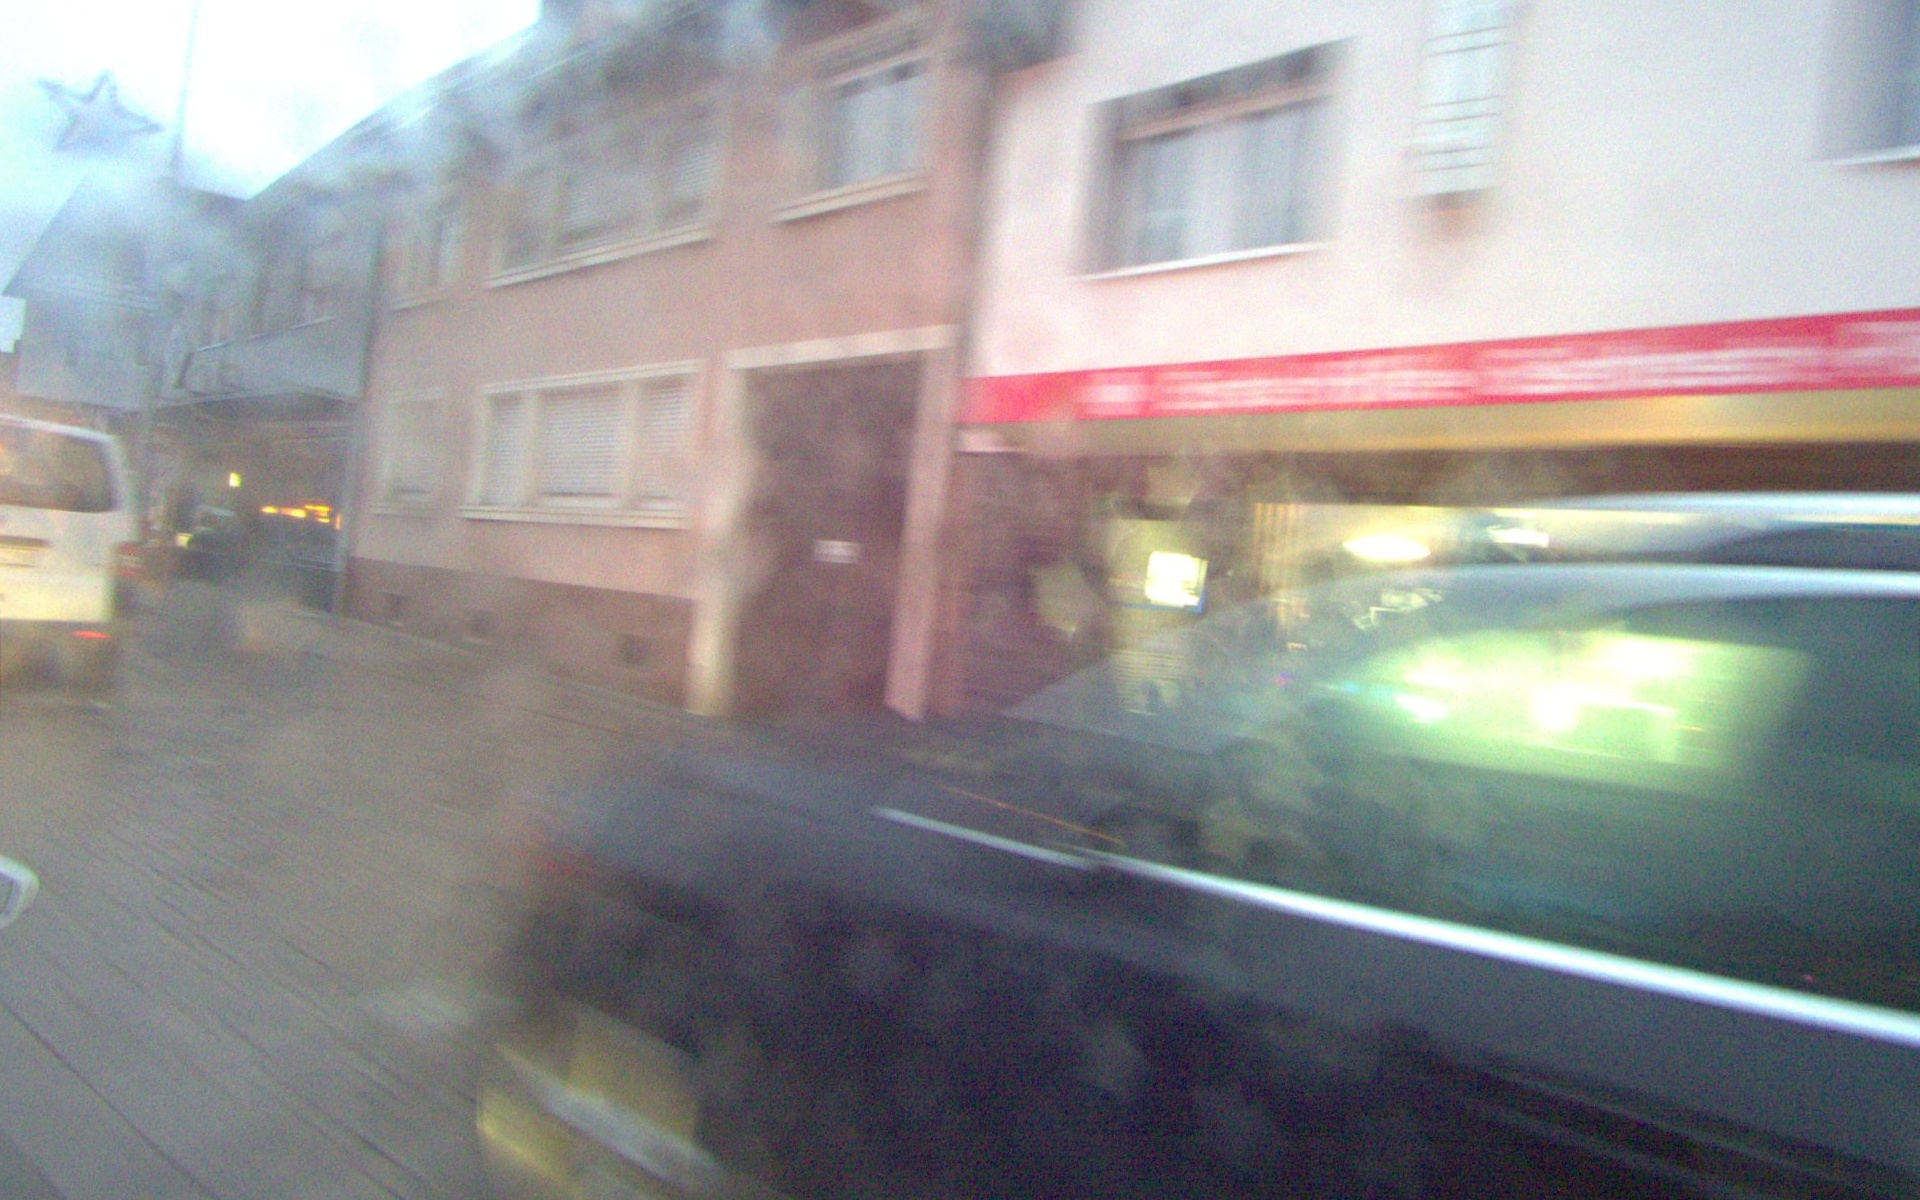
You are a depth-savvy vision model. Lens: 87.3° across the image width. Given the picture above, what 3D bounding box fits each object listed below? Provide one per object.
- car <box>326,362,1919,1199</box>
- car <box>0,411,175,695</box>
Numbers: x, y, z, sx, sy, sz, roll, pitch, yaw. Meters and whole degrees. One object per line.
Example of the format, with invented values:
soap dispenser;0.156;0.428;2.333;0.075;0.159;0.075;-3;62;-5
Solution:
car;1.032;0.672;1.859;4.387;1.682;1.976;7;0;33
car;-8.611;-0.547;8.553;4.781;1.984;1.971;7;0;40
